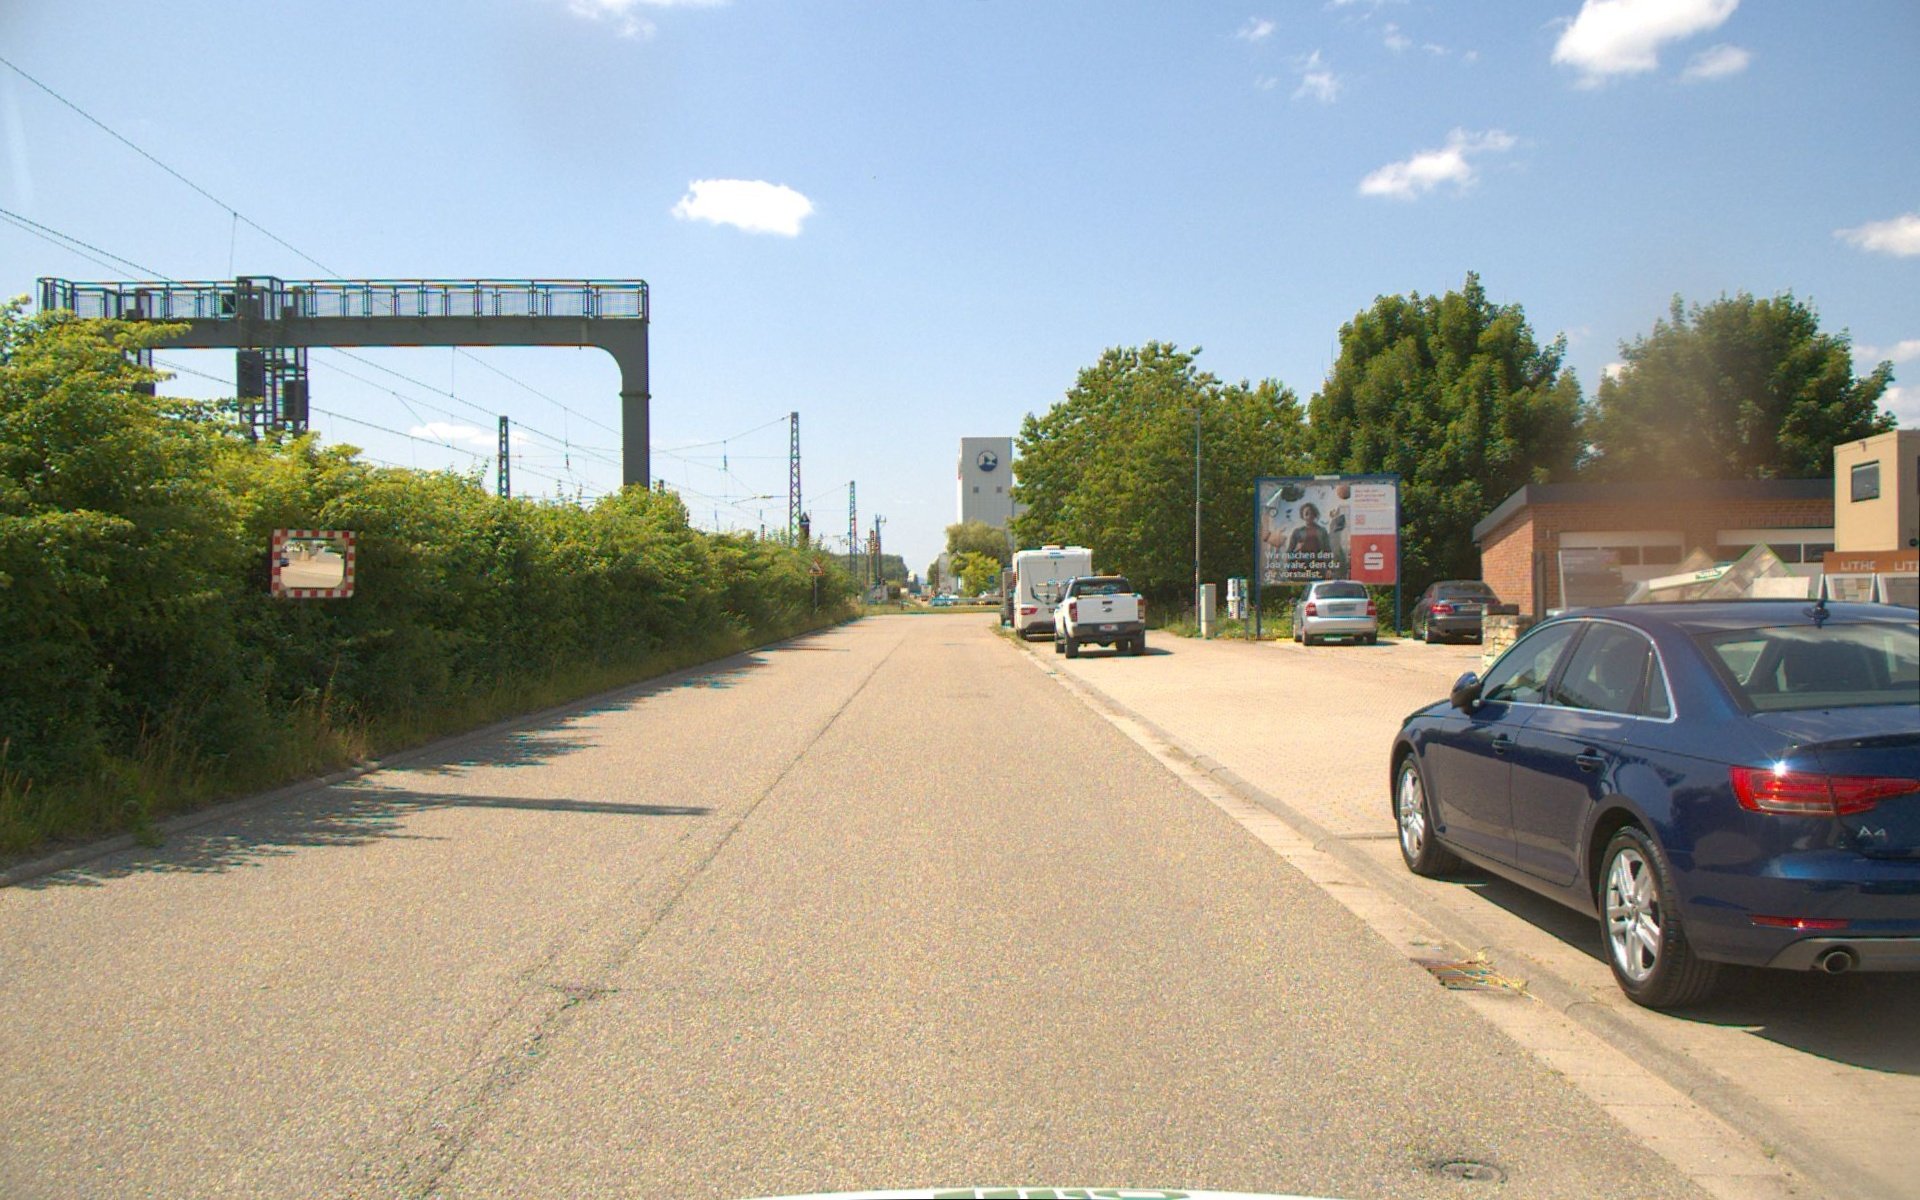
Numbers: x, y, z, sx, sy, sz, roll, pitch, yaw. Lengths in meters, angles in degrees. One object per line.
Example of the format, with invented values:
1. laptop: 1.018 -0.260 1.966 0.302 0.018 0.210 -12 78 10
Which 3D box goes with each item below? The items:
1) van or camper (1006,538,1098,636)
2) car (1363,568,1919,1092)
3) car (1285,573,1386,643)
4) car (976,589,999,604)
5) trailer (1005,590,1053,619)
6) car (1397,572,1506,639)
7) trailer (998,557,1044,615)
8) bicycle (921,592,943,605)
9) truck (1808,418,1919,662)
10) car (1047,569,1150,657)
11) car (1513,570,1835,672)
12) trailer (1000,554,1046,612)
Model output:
1. van or camper: 2.881 -0.407 53.803 2.389 2.876 7.622 -2 0 -1
2. car: 3.243 0.642 7.195 1.726 1.498 4.717 -2 0 -1
3. car: 8.827 0.164 39.136 1.865 1.505 4.003 -2 0 7
4. car: 2.897 -0.396 176.121 1.955 1.536 4.448 -1 0 -6
5. trailer: 3.013 0.208 72.594 1.963 1.142 4.490 -3 0 2
6. car: 11.333 0.109 38.366 1.709 1.400 4.003 -2 0 7
7. trailer: 2.847 -0.644 78.202 1.880 2.552 4.740 -3 0 0
8. bicycle: -2.681 -0.120 157.201 2.103 1.185 0.659 0 1 36
9. truck: 16.582 -0.925 24.615 6.324 3.447 3.109 -1 0 8
10. car: 3.224 0.271 39.578 1.810 1.846 5.423 -3 0 -1
11. car: 10.897 0.315 25.527 4.176 1.445 1.978 -1 0 8
12. trailer: 3.203 -0.852 83.311 1.892 2.690 5.187 -3 0 5
